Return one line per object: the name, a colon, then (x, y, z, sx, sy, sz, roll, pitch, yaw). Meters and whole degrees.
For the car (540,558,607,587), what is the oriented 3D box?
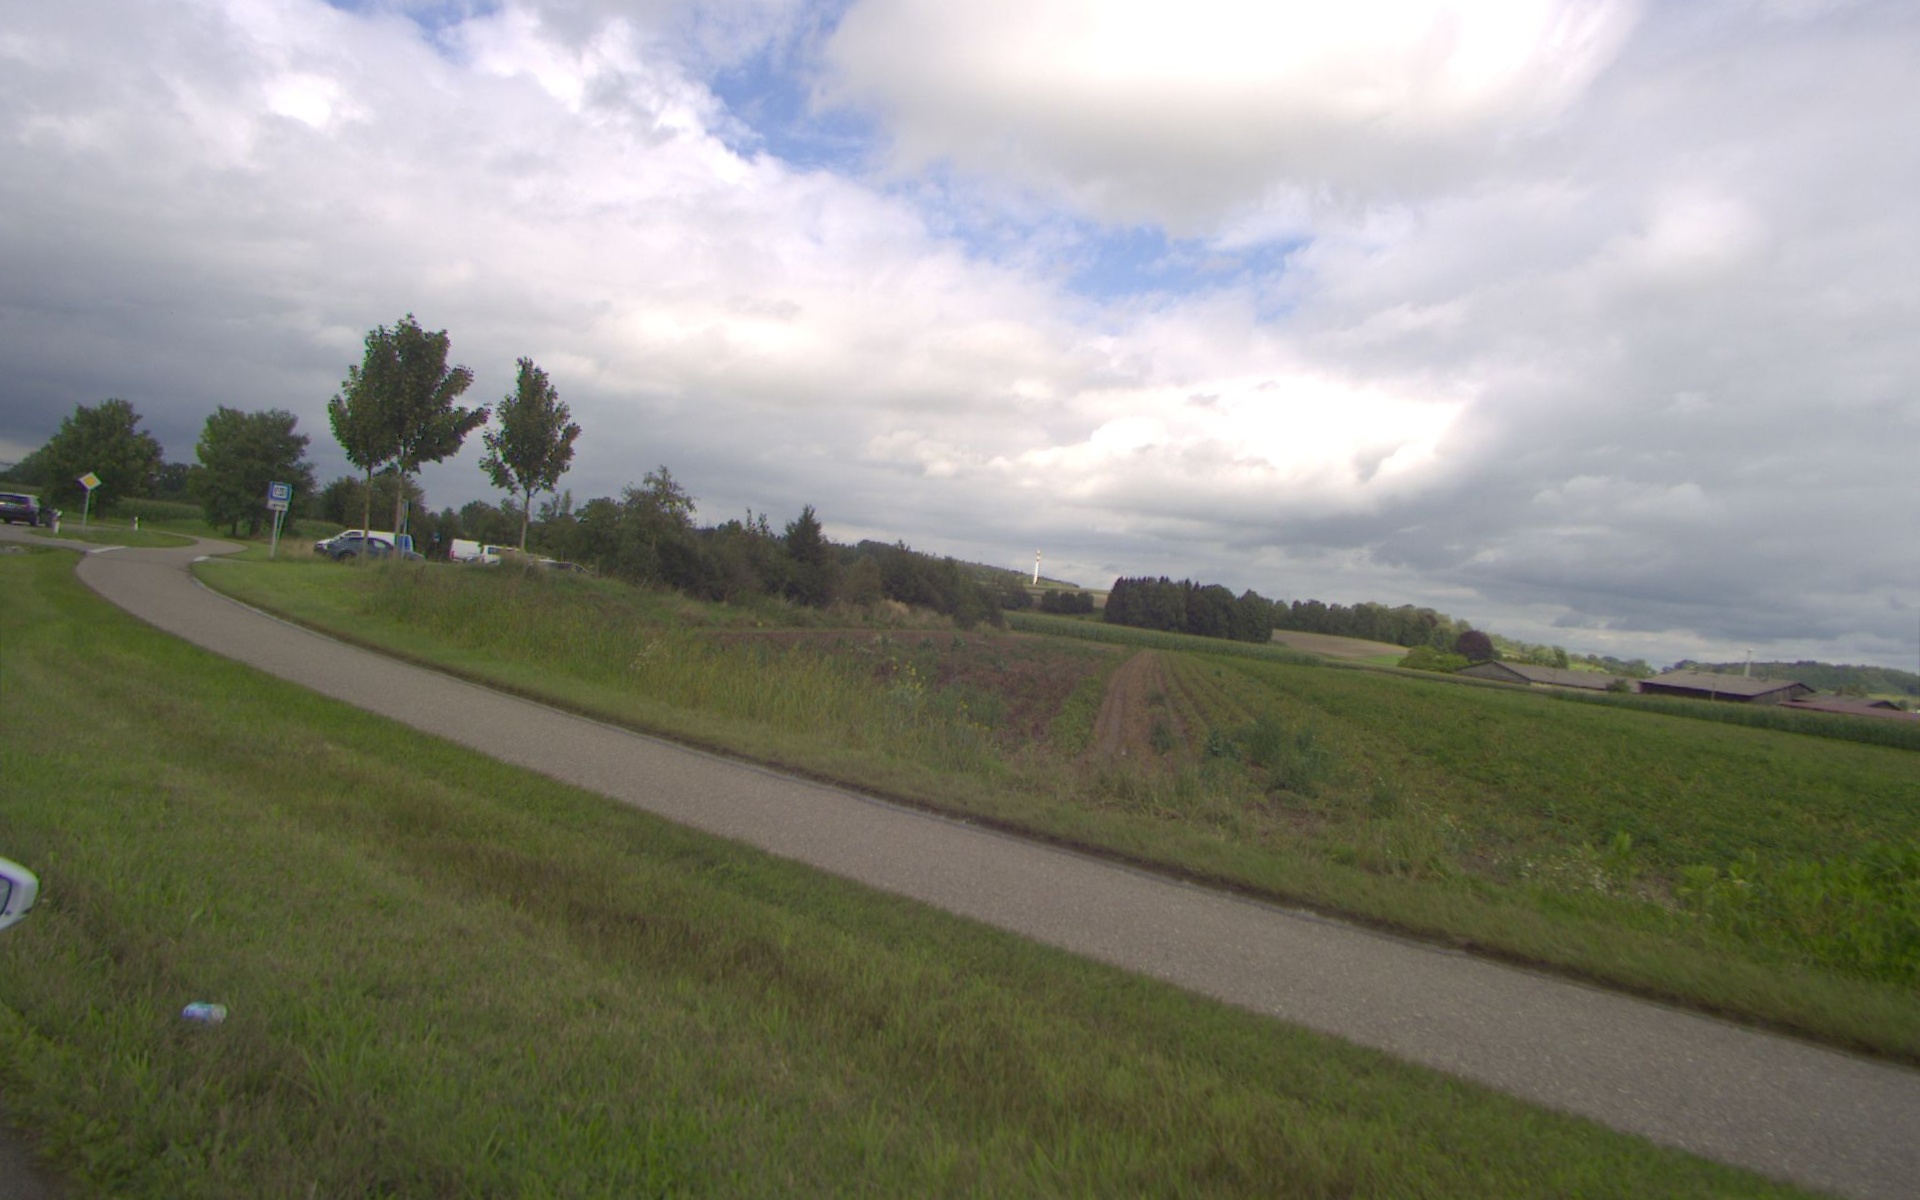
car: (-25.686, -1.845, 66.926, 3.672, 1.408, 1.740, 8, -1, -40)

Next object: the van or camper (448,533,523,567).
van or camper: (-49.312, -5.160, 104.624, 6.695, 2.593, 2.032, 7, 0, -32)

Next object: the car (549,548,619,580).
car: (-23.061, -2.210, 61.742, 3.666, 1.408, 1.713, 7, -1, -35)

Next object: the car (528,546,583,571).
car: (-36.189, -3.709, 90.061, 3.973, 1.615, 1.977, 8, -1, -42)

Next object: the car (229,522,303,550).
car: (-50.991, -4.693, 73.960, 4.302, 1.595, 1.952, 6, 1, -36)

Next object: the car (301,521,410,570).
car: (-33.296, -3.000, 55.483, 4.917, 1.998, 1.936, 7, 0, -35)

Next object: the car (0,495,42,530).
car: (-45.292, -4.235, 48.135, 1.835, 1.434, 3.953, 7, -1, -42)

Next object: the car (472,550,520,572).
car: (-42.158, -3.535, 91.414, 3.602, 1.457, 1.691, 7, 0, -33)

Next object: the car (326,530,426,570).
car: (-30.016, -2.550, 51.777, 4.244, 1.586, 1.820, 6, 1, -35)

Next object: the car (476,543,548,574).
car: (-36.841, -3.394, 82.810, 4.995, 2.026, 2.210, 6, 1, -36)
